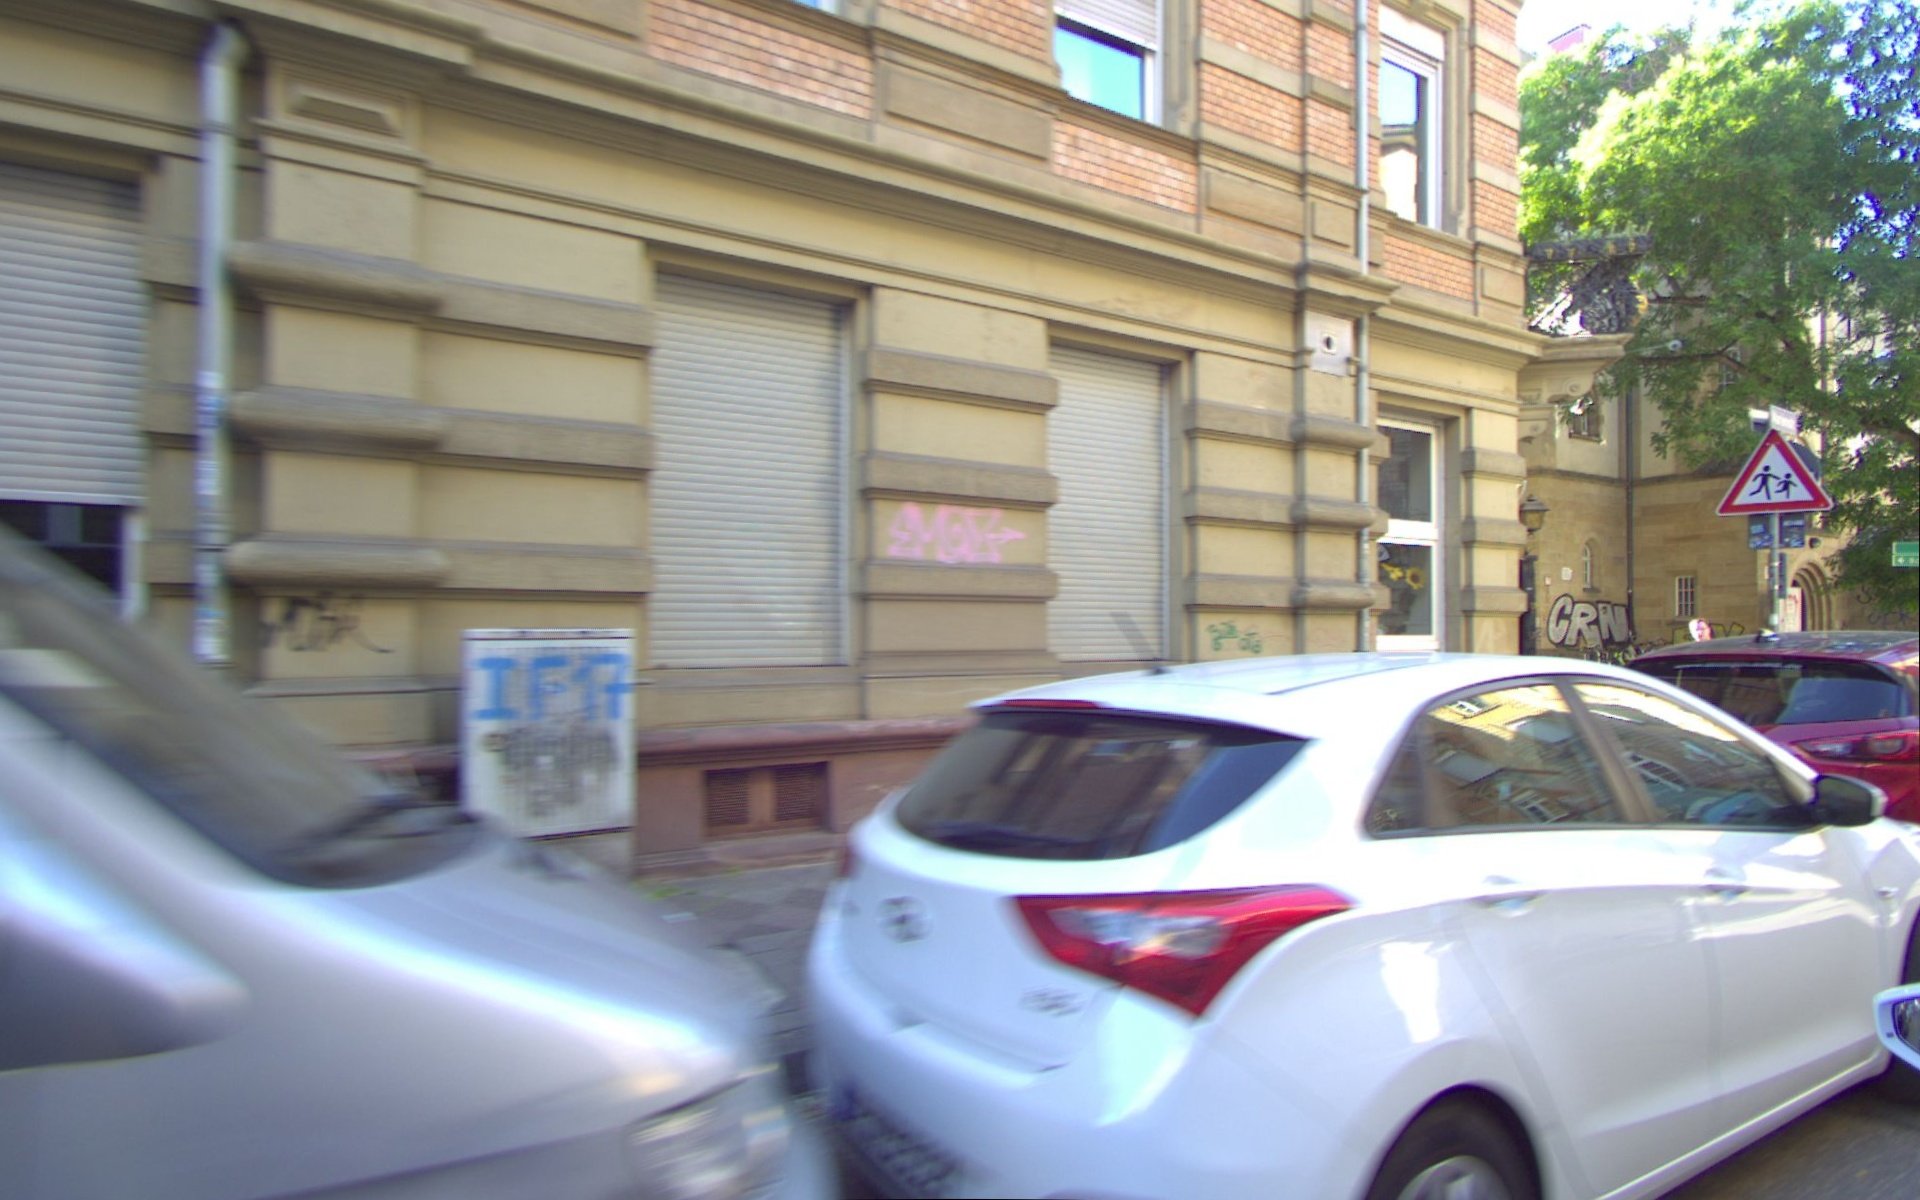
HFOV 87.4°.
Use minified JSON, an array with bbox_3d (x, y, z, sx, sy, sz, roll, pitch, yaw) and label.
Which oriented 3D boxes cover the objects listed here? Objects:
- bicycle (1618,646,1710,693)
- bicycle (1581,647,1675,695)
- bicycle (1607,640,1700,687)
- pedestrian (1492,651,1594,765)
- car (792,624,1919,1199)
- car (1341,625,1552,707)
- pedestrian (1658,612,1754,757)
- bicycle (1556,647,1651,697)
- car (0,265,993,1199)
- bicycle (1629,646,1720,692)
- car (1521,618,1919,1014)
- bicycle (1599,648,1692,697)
[{"bbox_3d":[16.930,1.645,24.204,0.473,1.068,1.767,0,-2,-30],"label":"bicycle"},{"bbox_3d":[15.667,1.651,23.609,0.528,1.068,1.767,0,-2,-30],"label":"bicycle"},{"bbox_3d":[16.492,1.482,23.929,0.473,1.068,1.767,0,-2,-30],"label":"bicycle"},{"bbox_3d":[6.407,1.172,11.065,0.733,1.193,0.669,1,-1,-1],"label":"pedestrian"},{"bbox_3d":[1.580,0.818,3.169,3.831,1.439,1.665,1,-1,-32],"label":"car"},{"bbox_3d":[10.815,1.397,22.596,1.749,1.619,3.968,-1,-1,-30],"label":"car"},{"bbox_3d":[8.609,0.949,11.600,0.751,1.601,0.663,1,-1,-31],"label":"pedestrian"},{"bbox_3d":[14.713,1.632,23.015,0.528,1.068,1.767,0,-2,-30],"label":"bicycle"},{"bbox_3d":[-2.387,0.585,1.109,4.553,1.808,1.884,1,-1,-30],"label":"car"},{"bbox_3d":[17.436,1.658,24.544,0.473,1.068,1.767,0,-2,-30],"label":"bicycle"},{"bbox_3d":[5.077,0.873,5.494,4.041,1.501,1.714,1,-1,-30],"label":"car"},{"bbox_3d":[16.158,1.690,23.709,0.473,1.068,1.767,0,-2,-30],"label":"bicycle"}]
